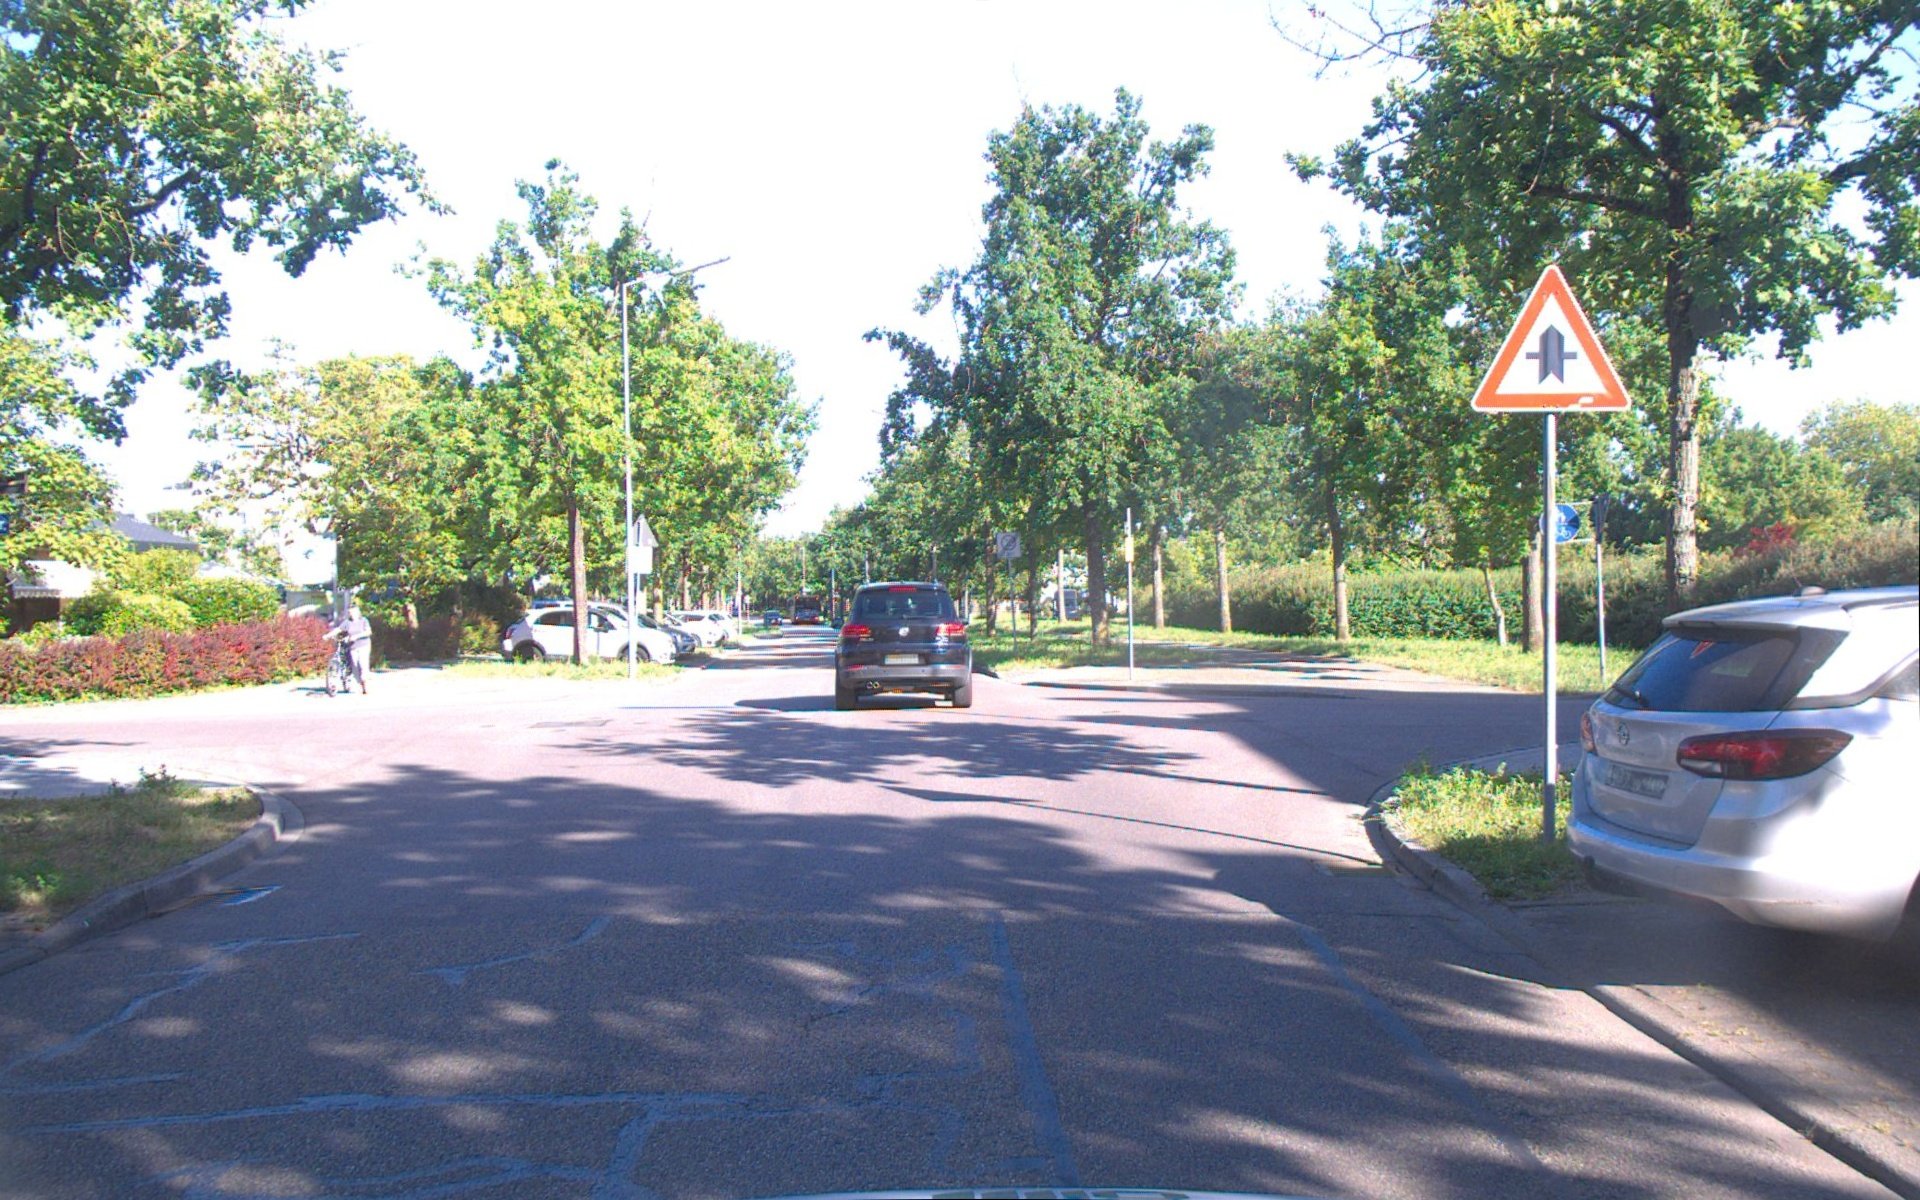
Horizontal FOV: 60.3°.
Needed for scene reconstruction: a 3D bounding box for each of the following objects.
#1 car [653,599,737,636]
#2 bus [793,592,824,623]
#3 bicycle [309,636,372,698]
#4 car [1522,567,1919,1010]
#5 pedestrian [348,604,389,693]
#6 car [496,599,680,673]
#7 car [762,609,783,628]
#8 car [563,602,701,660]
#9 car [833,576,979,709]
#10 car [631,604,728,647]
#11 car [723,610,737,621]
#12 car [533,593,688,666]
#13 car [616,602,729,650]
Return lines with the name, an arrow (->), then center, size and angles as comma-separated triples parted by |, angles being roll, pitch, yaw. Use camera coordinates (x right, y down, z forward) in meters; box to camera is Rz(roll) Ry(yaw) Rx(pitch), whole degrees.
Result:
car -> -13.131, 0.845, 82.054 | 3.937, 1.676, 1.810 | -2, 0, -4
bus -> -15.562, 0.832, 170.363 | 2.870, 3.056, 5.732 | -1, -1, -4
bicycle -> -11.156, 1.185, 29.813 | 0.438, 1.057, 1.892 | -1, -1, -1
car -> 4.805, 0.600, 6.811 | 4.340, 1.517, 1.795 | -2, 0, -3
pedestrian -> -10.724, 0.878, 29.999 | 0.432, 1.584, 0.801 | -1, -1, -1
car -> -9.130, 0.869, 40.871 | 4.158, 1.651, 1.895 | -2, 0, -4
car -> -18.082, 1.802, 159.907 | 1.816, 1.723, 3.952 | -1, -1, -4
car -> -10.093, 0.947, 51.189 | 3.937, 1.676, 1.895 | -1, -1, -4
car -> -0.665, 0.537, 22.886 | 1.800, 1.665, 3.958 | 0, 0, 1
car -> -12.104, 1.090, 71.615 | 3.937, 1.676, 1.810 | -2, 0, -4
car -> -34.859, 2.329, 250.621 | 1.789, 1.578, 3.686 | -2, 0, -4
car -> -9.722, 0.810, 46.265 | 3.937, 1.872, 1.895 | -2, 0, -4
car -> -10.626, 0.955, 61.325 | 3.937, 1.676, 1.809 | -1, -1, -4
